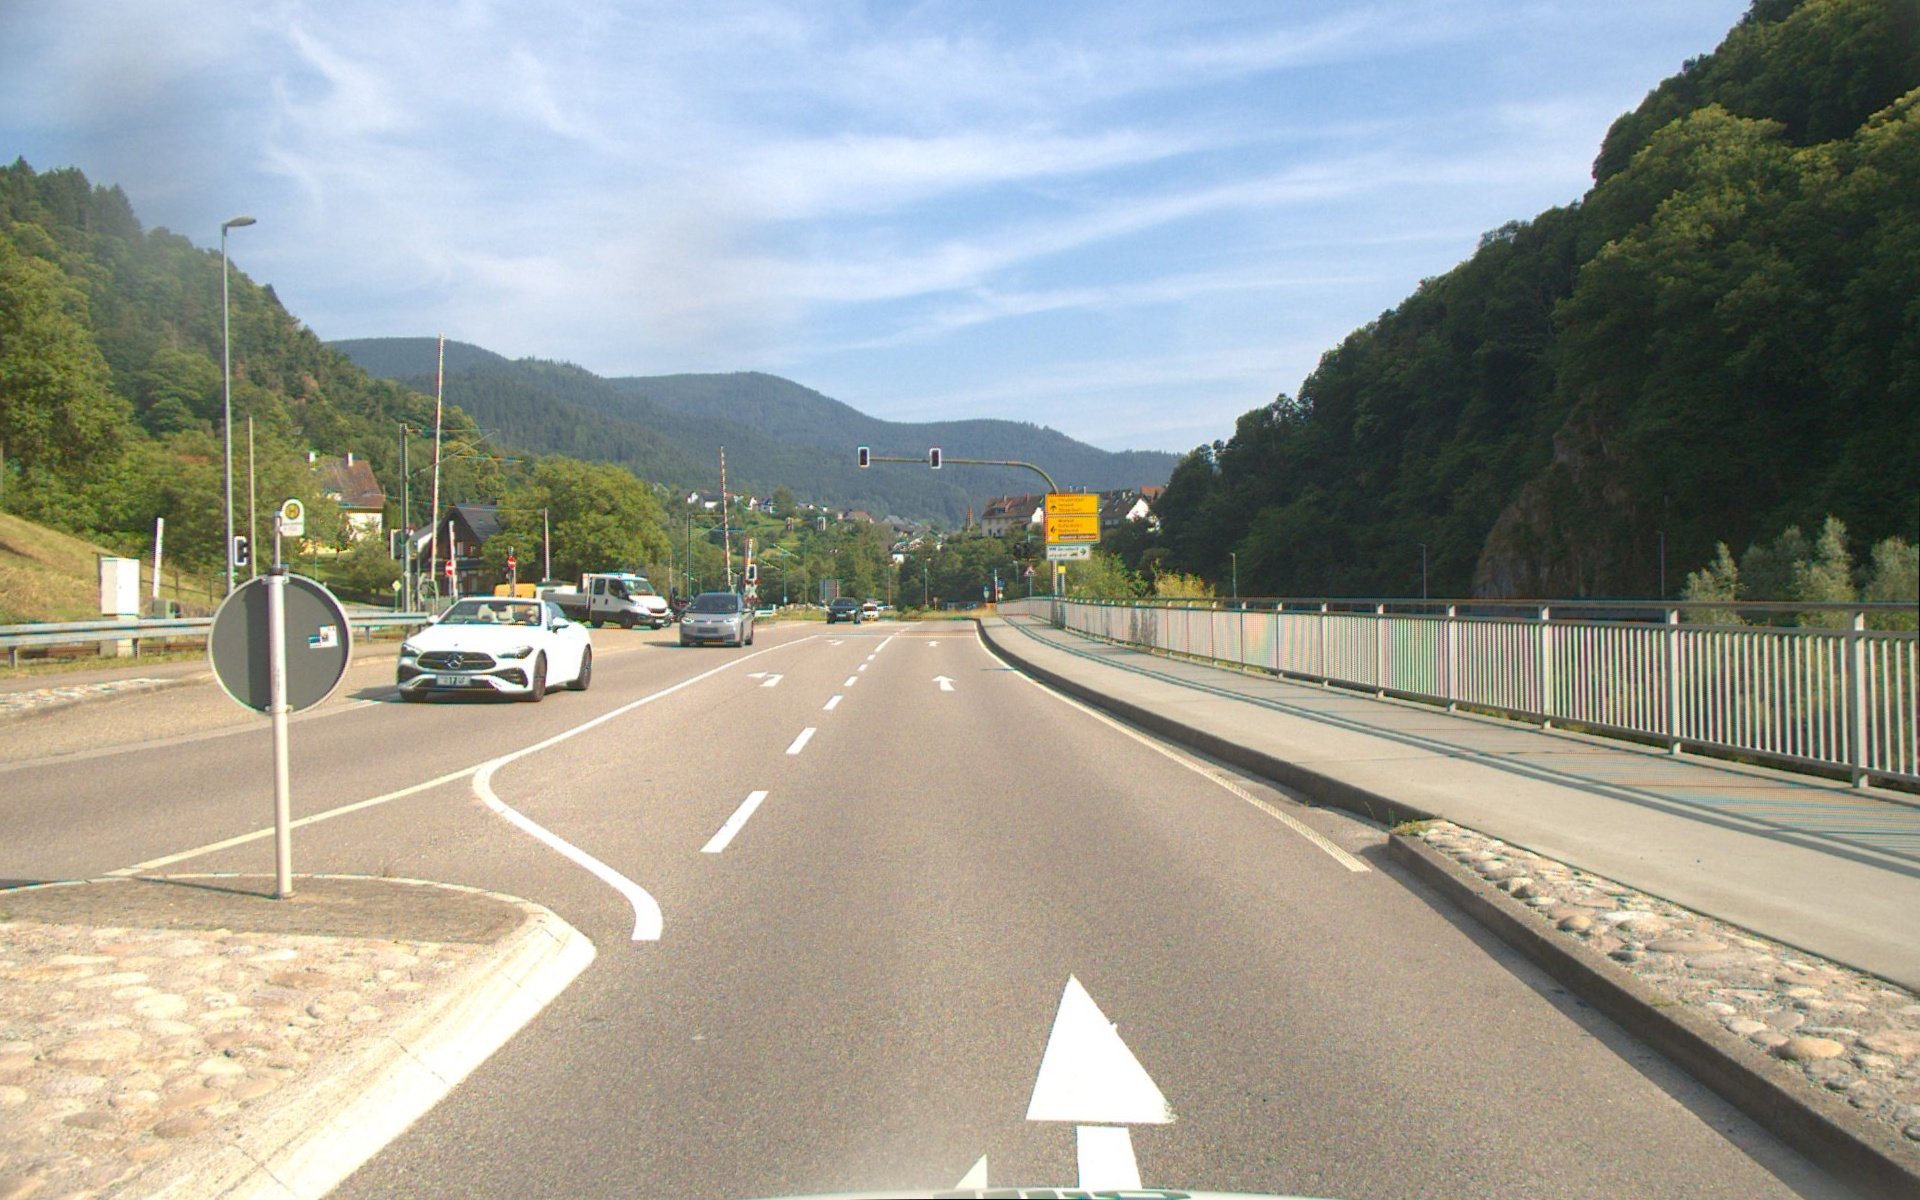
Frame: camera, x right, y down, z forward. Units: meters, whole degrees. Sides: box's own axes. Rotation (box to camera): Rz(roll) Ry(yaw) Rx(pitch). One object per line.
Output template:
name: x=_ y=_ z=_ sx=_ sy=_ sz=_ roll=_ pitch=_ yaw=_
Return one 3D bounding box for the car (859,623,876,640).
car: x=-11.490 y=3.927 z=205.990 sx=1.953 sy=2.049 sz=4.555 roll=1 pitch=-1 yaw=-2

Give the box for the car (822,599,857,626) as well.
car: x=-6.670 y=0.699 z=91.871 sx=1.737 sy=1.441 sz=3.783 roll=0 pitch=0 yaw=-2

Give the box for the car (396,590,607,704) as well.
car: x=-6.393 y=0.595 z=23.630 sx=1.746 sy=1.424 sz=4.825 roll=1 pitch=0 yaw=-2

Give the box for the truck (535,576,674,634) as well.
truck: x=-15.026 y=0.177 z=69.835 sx=5.871 sy=2.306 sz=1.997 roll=1 pitch=0 yaw=29

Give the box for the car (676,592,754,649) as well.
car: x=-7.135 y=0.558 z=48.491 sx=1.723 sy=1.547 sz=4.203 roll=1 pitch=0 yaw=-1
